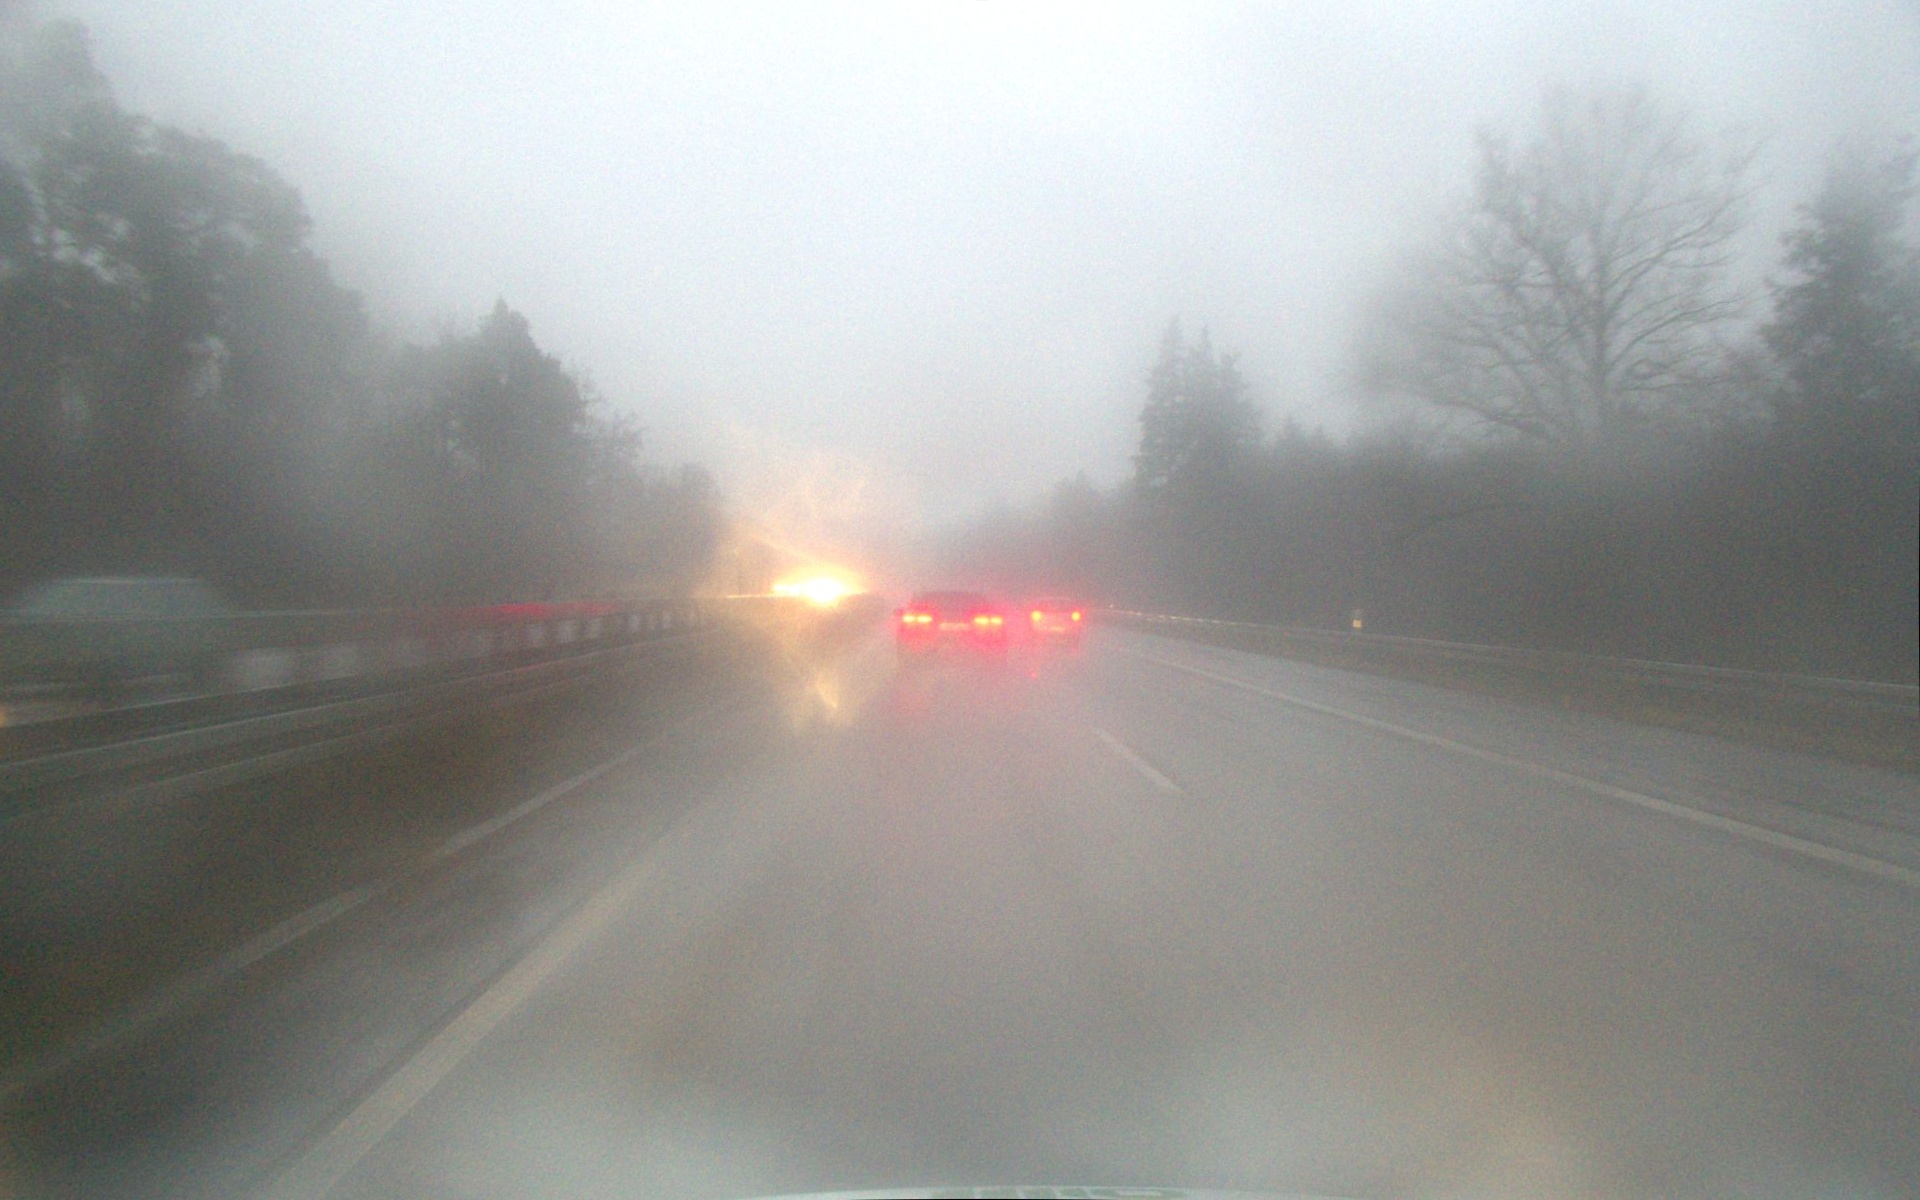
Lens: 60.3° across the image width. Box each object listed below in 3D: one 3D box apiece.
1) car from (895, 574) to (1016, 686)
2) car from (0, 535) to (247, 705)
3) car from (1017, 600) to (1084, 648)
[{"bbox_3d":[-0.113,0.474,28.859,1.946,1.798,4.172,1,0,-1],"label":"car"},{"bbox_3d":[-11.595,0.228,22.454,1.954,2.049,4.782,1,0,-3],"label":"car"},{"bbox_3d":[2.861,0.739,52.969,1.744,1.462,3.535,1,0,-3],"label":"car"}]
